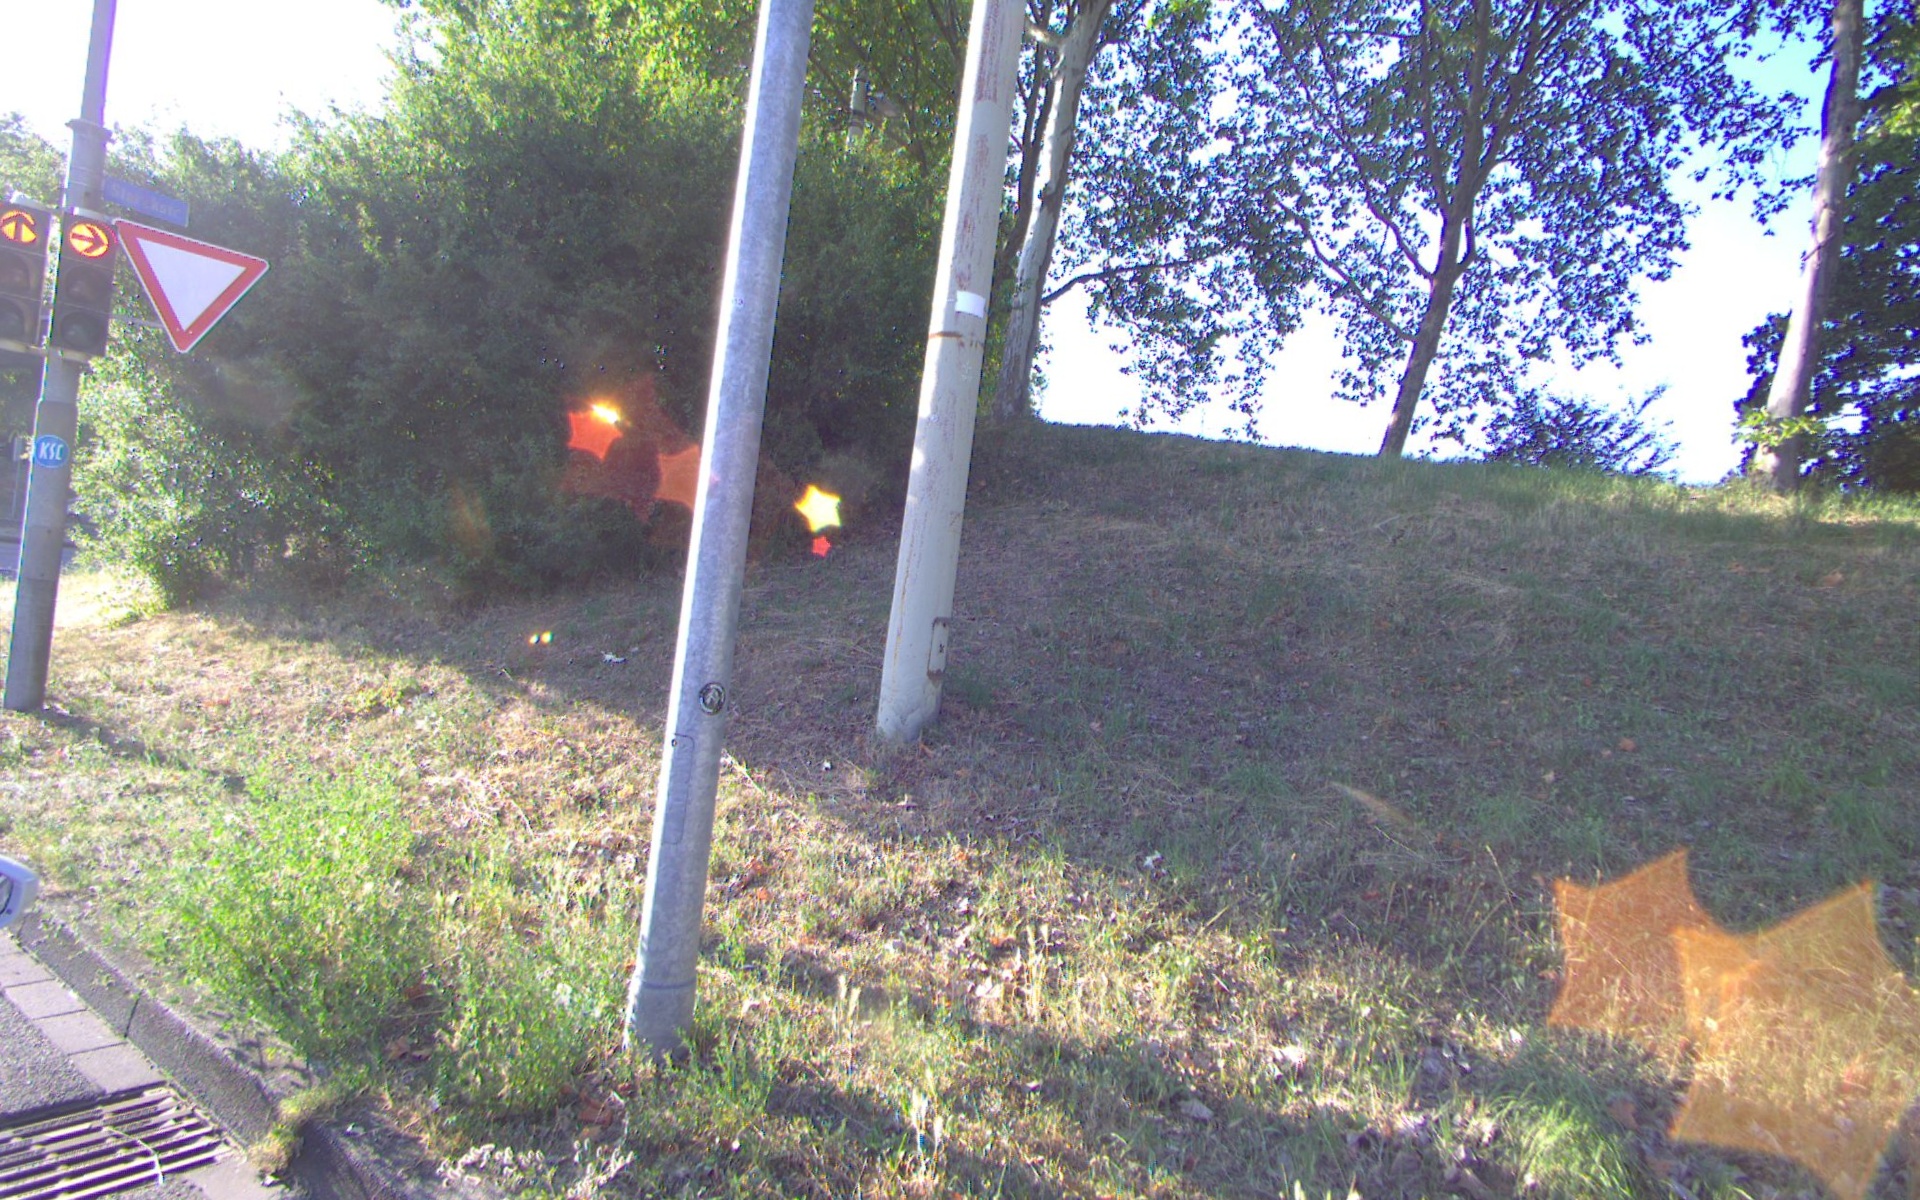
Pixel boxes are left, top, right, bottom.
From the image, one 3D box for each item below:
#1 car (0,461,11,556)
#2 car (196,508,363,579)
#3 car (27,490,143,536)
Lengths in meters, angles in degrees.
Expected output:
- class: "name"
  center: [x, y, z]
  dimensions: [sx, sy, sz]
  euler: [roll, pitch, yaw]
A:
- class: "car"
  center: [-19.722, -1.868, 17.040]
  dimensions: [1.998, 2.014, 4.949]
  euler: [7, -1, 10]
- class: "car"
  center: [-20.999, -1.679, 31.288]
  dimensions: [1.661, 1.593, 4.254]
  euler: [7, -1, 10]
- class: "car"
  center: [-43.240, -4.280, 49.818]
  dimensions: [1.661, 1.529, 4.012]
  euler: [7, -2, 13]
